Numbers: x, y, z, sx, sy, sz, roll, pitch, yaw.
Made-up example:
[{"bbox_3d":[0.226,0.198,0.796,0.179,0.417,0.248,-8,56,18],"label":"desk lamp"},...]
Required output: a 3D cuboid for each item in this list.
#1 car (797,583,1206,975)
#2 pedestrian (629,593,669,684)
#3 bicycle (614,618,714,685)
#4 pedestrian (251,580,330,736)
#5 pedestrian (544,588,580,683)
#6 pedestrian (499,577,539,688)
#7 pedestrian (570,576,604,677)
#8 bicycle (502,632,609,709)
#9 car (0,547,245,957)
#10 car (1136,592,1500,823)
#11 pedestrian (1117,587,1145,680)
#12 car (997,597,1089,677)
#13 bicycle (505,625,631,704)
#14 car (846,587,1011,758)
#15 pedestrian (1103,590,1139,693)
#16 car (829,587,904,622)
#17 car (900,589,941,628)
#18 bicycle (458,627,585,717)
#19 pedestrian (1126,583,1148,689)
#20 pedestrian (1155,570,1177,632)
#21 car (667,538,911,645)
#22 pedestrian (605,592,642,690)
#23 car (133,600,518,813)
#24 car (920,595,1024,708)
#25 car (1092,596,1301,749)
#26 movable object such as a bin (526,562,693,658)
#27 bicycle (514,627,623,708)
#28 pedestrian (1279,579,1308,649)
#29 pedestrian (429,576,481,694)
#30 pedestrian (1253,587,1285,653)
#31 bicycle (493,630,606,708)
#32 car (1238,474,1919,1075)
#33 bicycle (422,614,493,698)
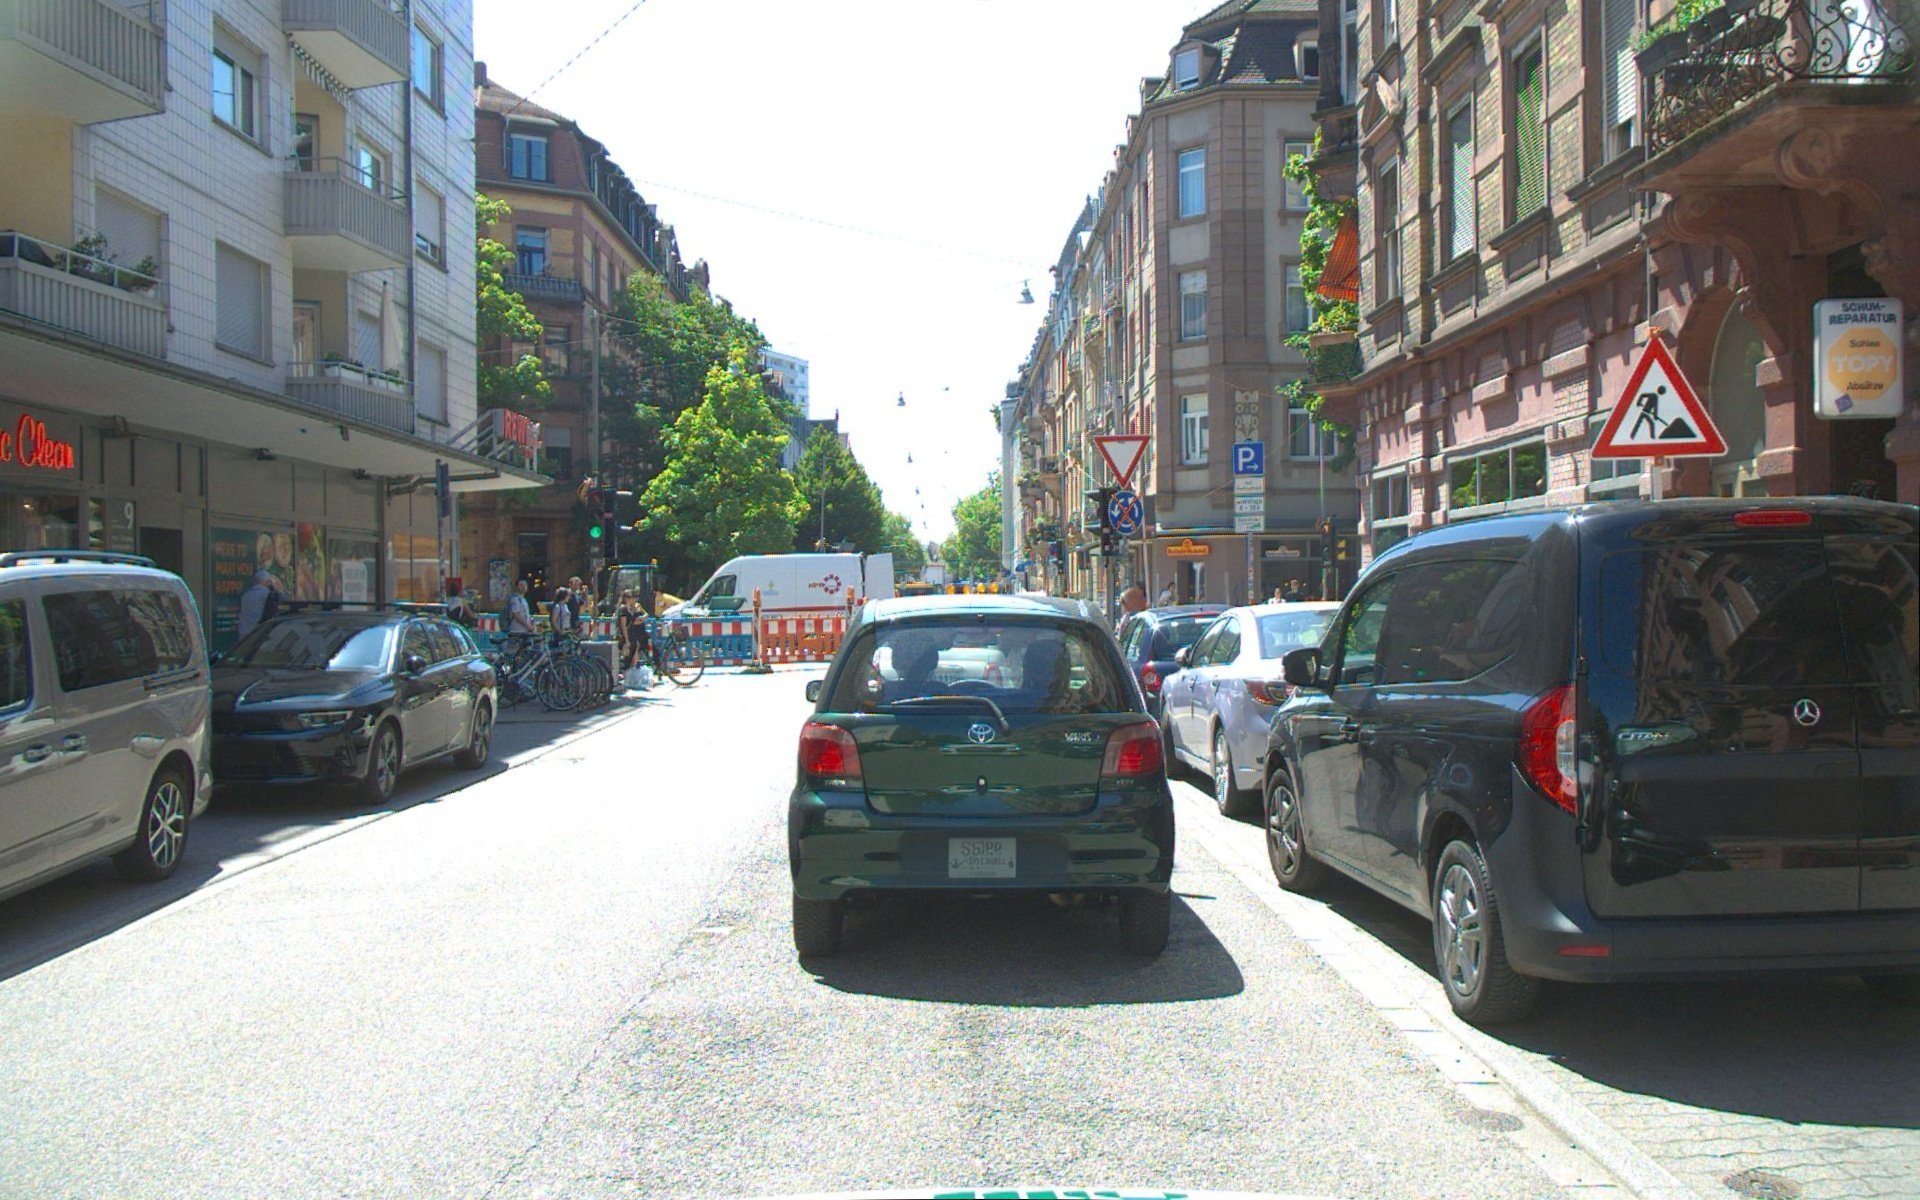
[{"bbox_3d":[0.194,0.698,8.032,1.580,1.511,3.241,0,0,1],"label":"car"},{"bbox_3d":[-5.569,0.678,29.625,0.486,1.593,0.459,1,0,25],"label":"pedestrian"},{"bbox_3d":[-5.341,0.922,29.787,1.767,1.139,0.468,1,0,21],"label":"bicycle"},{"bbox_3d":[-7.671,0.656,18.979,0.617,1.757,0.658,-1,0,1],"label":"pedestrian"},{"bbox_3d":[-7.048,0.621,29.299,0.499,1.661,0.599,-1,0,-3],"label":"pedestrian"},{"bbox_3d":[-7.300,0.534,27.398,0.499,1.801,0.599,-1,0,-3],"label":"pedestrian"},{"bbox_3d":[-6.893,0.487,30.543,0.499,1.852,0.599,-1,0,-3],"label":"pedestrian"},{"bbox_3d":[-5.806,1.009,23.761,1.419,1.054,0.335,2,0,-5],"label":"bicycle"},{"bbox_3d":[-5.214,0.674,7.934,1.753,1.843,4.696,0,0,-4],"label":"car"},{"bbox_3d":[2.593,0.710,13.098,1.691,1.457,4.483,-2,0,-3],"label":"car"},{"bbox_3d":[2.946,0.575,28.455,0.450,1.587,0.479,-1,0,5],"label":"pedestrian"},{"bbox_3d":[1.684,0.689,32.672,1.593,1.457,3.662,-2,0,6],"label":"car"},{"bbox_3d":[-5.911,0.970,25.009,1.763,1.142,0.577,1,-1,-7],"label":"bicycle"},{"bbox_3d":[-0.318,0.656,16.773,1.491,1.547,3.263,-1,0,-1],"label":"car"},{"bbox_3d":[2.526,0.645,25.964,0.482,1.570,0.437,-3,-1,5],"label":"pedestrian"},{"bbox_3d":[-6.138,0.260,108.088,4.506,2.226,1.982,0,0,-28],"label":"car"},{"bbox_3d":[-1.791,0.387,75.695,1.719,1.674,4.377,-3,0,-1],"label":"car"},{"bbox_3d":[-5.919,0.969,22.367,1.553,1.159,0.526,2,0,-5],"label":"bicycle"},{"bbox_3d":[2.875,0.576,26.813,0.325,1.705,0.402,-1,0,5],"label":"pedestrian"},{"bbox_3d":[5.900,0.045,47.323,0.467,1.763,0.872,-1,-1,18],"label":"pedestrian"},{"bbox_3d":[-4.672,-0.230,46.053,6.486,2.799,2.380,1,0,0],"label":"car"},{"bbox_3d":[-5.758,0.700,28.322,0.530,1.661,0.511,-1,0,-3],"label":"pedestrian"},{"bbox_3d":[-5.261,0.783,14.387,1.636,1.552,4.463,0,0,0],"label":"car"},{"bbox_3d":[0.201,0.736,25.646,1.491,1.620,3.264,-1,0,1],"label":"car"},{"bbox_3d":[2.488,0.724,18.197,1.595,1.457,3.658,-2,0,-3],"label":"car"},{"bbox_3d":[-10.300,0.293,48.817,4.449,2.705,1.955,1,0,2],"label":"movable object such as a bin"},{"bbox_3d":[-5.747,0.988,24.309,1.489,1.136,0.335,2,-1,-5],"label":"bicycle"},{"bbox_3d":[8.734,0.362,43.302,0.564,1.799,0.470,-3,3,-9],"label":"pedestrian"},{"bbox_3d":[-8.001,0.550,26.220,0.519,1.828,0.938,-1,0,-1],"label":"pedestrian"},{"bbox_3d":[8.070,0.517,43.197,0.688,1.673,0.422,-3,3,-9],"label":"pedestrian"},{"bbox_3d":[-5.773,0.968,23.292,1.465,1.048,0.397,2,0,-5],"label":"bicycle"},{"bbox_3d":[2.589,0.525,7.259,1.788,1.798,4.335,-2,0,-3],"label":"car"},{"bbox_3d":[-8.013,0.865,26.447,0.524,1.269,2.012,-1,0,-1],"label":"bicycle"}]
